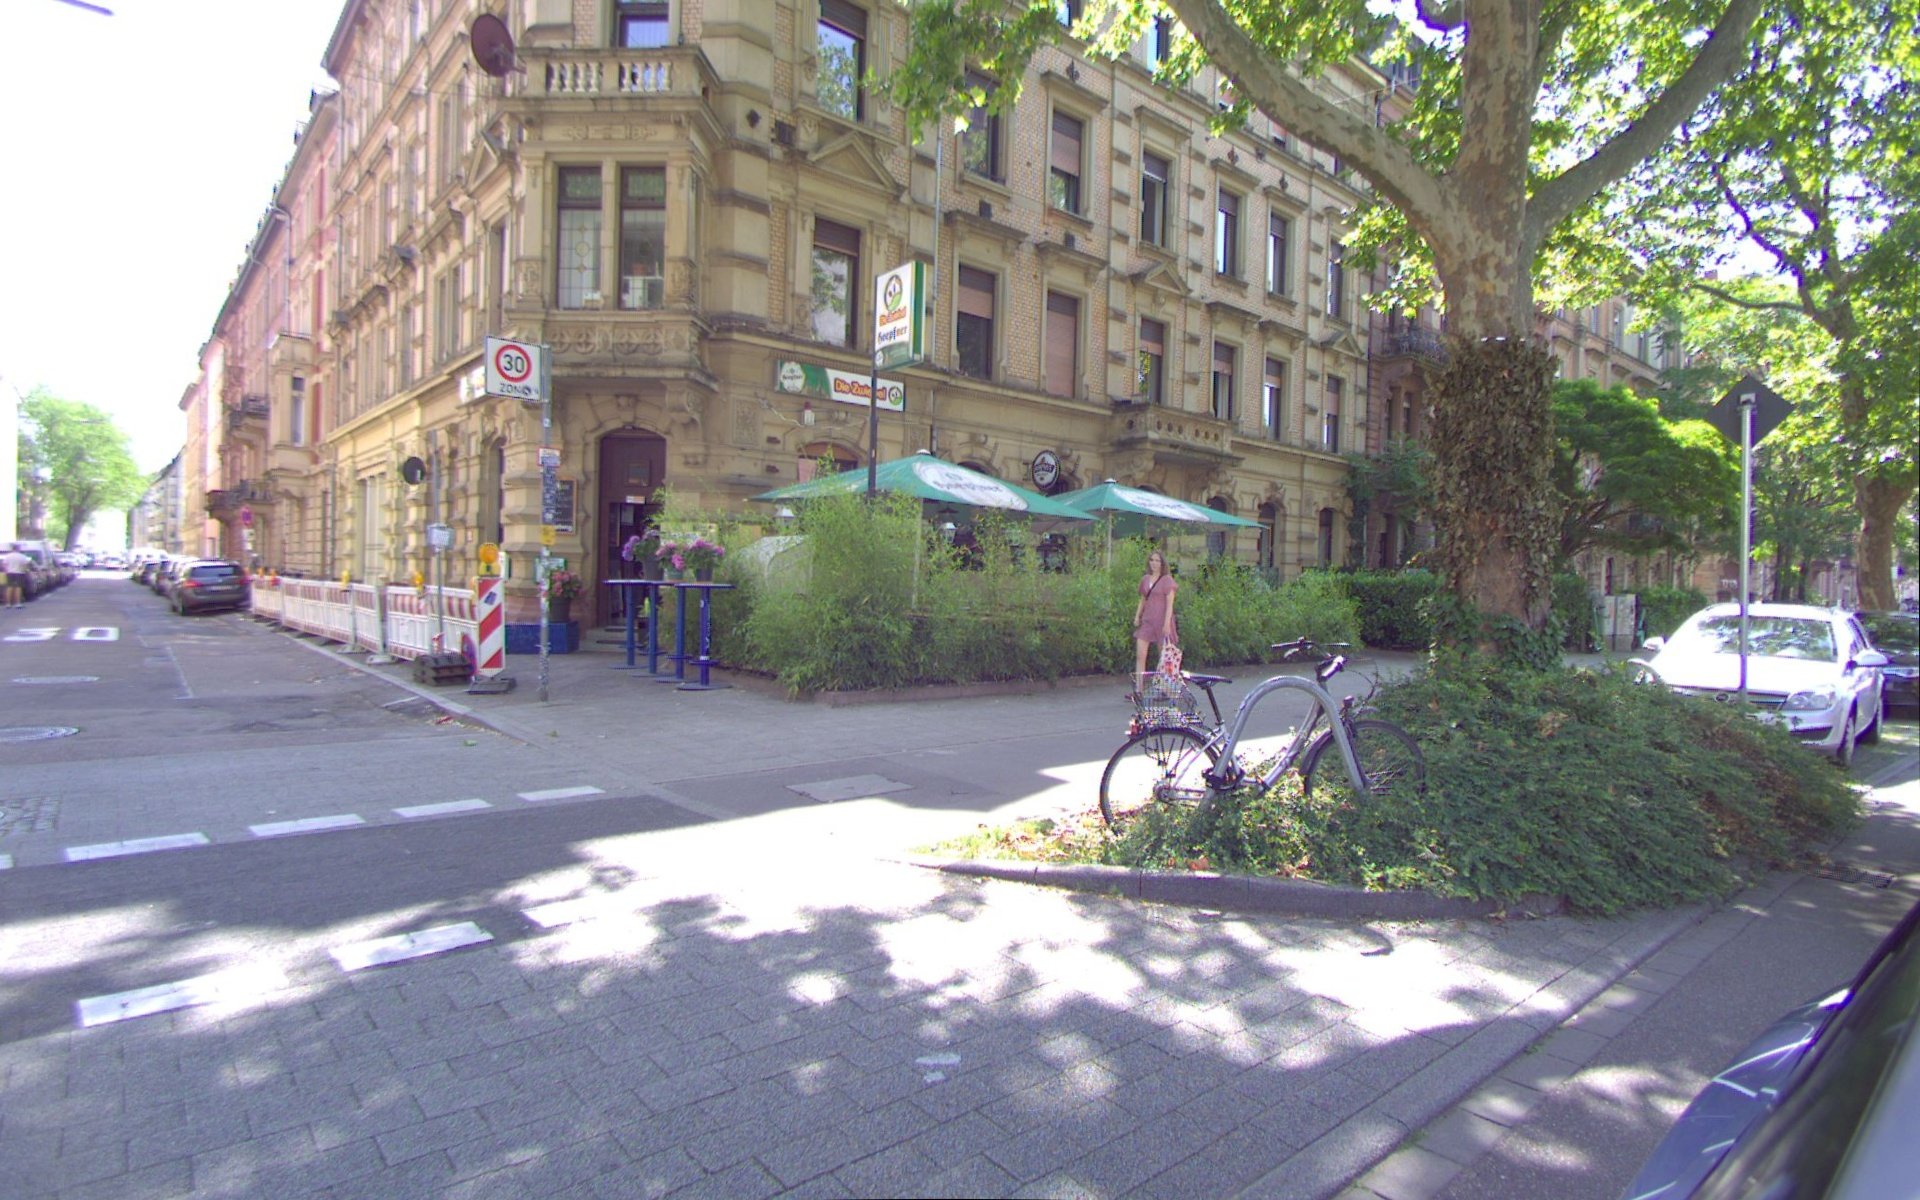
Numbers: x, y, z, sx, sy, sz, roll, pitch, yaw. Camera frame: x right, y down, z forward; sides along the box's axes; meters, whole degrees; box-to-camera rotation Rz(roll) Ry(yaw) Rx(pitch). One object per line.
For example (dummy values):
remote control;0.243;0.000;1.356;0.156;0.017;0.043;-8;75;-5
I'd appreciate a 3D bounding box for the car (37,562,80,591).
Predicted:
car;-57.839;-1.521;64.979;1.879;1.731;4.159;1;1;-39

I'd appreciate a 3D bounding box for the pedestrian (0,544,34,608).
pedestrian;-27.467;-0.700;29.320;0.921;1.821;1.036;1;1;-44

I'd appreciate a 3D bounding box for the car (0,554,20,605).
car;-30.754;-0.678;31.780;1.698;1.548;3.490;1;1;-41

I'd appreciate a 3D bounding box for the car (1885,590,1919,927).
car;6.160;0.699;4.906;4.019;1.427;1.886;0;1;-39

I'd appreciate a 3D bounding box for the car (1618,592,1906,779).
car;8.659;0.722;10.772;4.418;1.527;1.835;0;2;-44

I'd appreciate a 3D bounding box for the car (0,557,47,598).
car;-38.032;-0.931;40.859;1.698;1.548;3.490;1;1;-41

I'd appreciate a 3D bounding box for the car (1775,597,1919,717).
car;13.954;0.760;15.196;4.561;1.527;1.837;0;2;-40

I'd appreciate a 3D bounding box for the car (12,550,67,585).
car;-48.626;-1.738;53.525;1.879;1.731;4.159;1;1;-39

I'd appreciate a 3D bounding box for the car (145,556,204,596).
car;-36.258;-1.133;46.676;1.965;1.760;3.995;0;1;-41

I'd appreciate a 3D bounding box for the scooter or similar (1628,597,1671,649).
scooter or similar;17.936;0.584;26.330;1.124;1.298;0.583;1;1;-39

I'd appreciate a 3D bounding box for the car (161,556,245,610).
car;-25.334;-0.592;33.818;1.965;1.660;3.995;0;2;-41

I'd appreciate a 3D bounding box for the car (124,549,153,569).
car;-75.701;-3.749;93.230;1.965;1.760;3.995;1;1;-41

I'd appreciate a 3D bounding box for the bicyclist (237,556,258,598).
bicyclist;-25.304;-0.806;35.957;0.524;1.471;0.460;1;1;-44

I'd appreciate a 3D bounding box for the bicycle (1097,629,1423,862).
bicycle;1.557;0.733;5.299;1.583;1.119;0.423;1;1;-10

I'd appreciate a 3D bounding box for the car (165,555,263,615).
car;-21.413;-0.460;28.991;1.965;1.571;3.995;0;2;-41

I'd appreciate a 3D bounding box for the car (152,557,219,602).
car;-32.017;-0.861;41.802;1.965;1.760;3.995;0;1;-41

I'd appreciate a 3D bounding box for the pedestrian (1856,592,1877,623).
pedestrian;52.869;0.430;59.027;0.951;1.740;0.796;1;1;-41

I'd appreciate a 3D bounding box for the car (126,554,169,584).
car;-51.007;-1.957;63.487;1.965;1.760;3.995;0;1;-41

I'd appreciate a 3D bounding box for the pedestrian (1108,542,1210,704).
pedestrian;2.331;0.244;11.891;0.837;1.807;0.738;1;3;-41

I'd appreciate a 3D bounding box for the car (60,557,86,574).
car;-77.421;-3.036;88.359;1.641;1.419;3.357;0;1;-40

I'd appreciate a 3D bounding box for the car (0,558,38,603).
car;-34.224;-0.726;36.233;1.698;1.548;3.490;0;1;-42

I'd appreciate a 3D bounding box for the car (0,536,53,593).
car;-41.405;-1.562;44.604;1.879;2.403;4.244;1;1;-39

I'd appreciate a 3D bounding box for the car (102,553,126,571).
car;-90.781;-4.086;108.579;1.965;1.760;3.995;1;1;-41

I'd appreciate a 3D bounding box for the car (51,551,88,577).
car;-64.447;-2.604;73.257;1.879;1.731;4.157;1;1;-40

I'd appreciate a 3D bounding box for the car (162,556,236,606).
car;-28.337;-0.743;37.642;1.965;1.760;3.995;0;1;-41

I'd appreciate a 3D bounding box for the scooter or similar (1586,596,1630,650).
scooter or similar;15.816;0.554;24.696;1.124;1.263;0.583;1;1;-40
